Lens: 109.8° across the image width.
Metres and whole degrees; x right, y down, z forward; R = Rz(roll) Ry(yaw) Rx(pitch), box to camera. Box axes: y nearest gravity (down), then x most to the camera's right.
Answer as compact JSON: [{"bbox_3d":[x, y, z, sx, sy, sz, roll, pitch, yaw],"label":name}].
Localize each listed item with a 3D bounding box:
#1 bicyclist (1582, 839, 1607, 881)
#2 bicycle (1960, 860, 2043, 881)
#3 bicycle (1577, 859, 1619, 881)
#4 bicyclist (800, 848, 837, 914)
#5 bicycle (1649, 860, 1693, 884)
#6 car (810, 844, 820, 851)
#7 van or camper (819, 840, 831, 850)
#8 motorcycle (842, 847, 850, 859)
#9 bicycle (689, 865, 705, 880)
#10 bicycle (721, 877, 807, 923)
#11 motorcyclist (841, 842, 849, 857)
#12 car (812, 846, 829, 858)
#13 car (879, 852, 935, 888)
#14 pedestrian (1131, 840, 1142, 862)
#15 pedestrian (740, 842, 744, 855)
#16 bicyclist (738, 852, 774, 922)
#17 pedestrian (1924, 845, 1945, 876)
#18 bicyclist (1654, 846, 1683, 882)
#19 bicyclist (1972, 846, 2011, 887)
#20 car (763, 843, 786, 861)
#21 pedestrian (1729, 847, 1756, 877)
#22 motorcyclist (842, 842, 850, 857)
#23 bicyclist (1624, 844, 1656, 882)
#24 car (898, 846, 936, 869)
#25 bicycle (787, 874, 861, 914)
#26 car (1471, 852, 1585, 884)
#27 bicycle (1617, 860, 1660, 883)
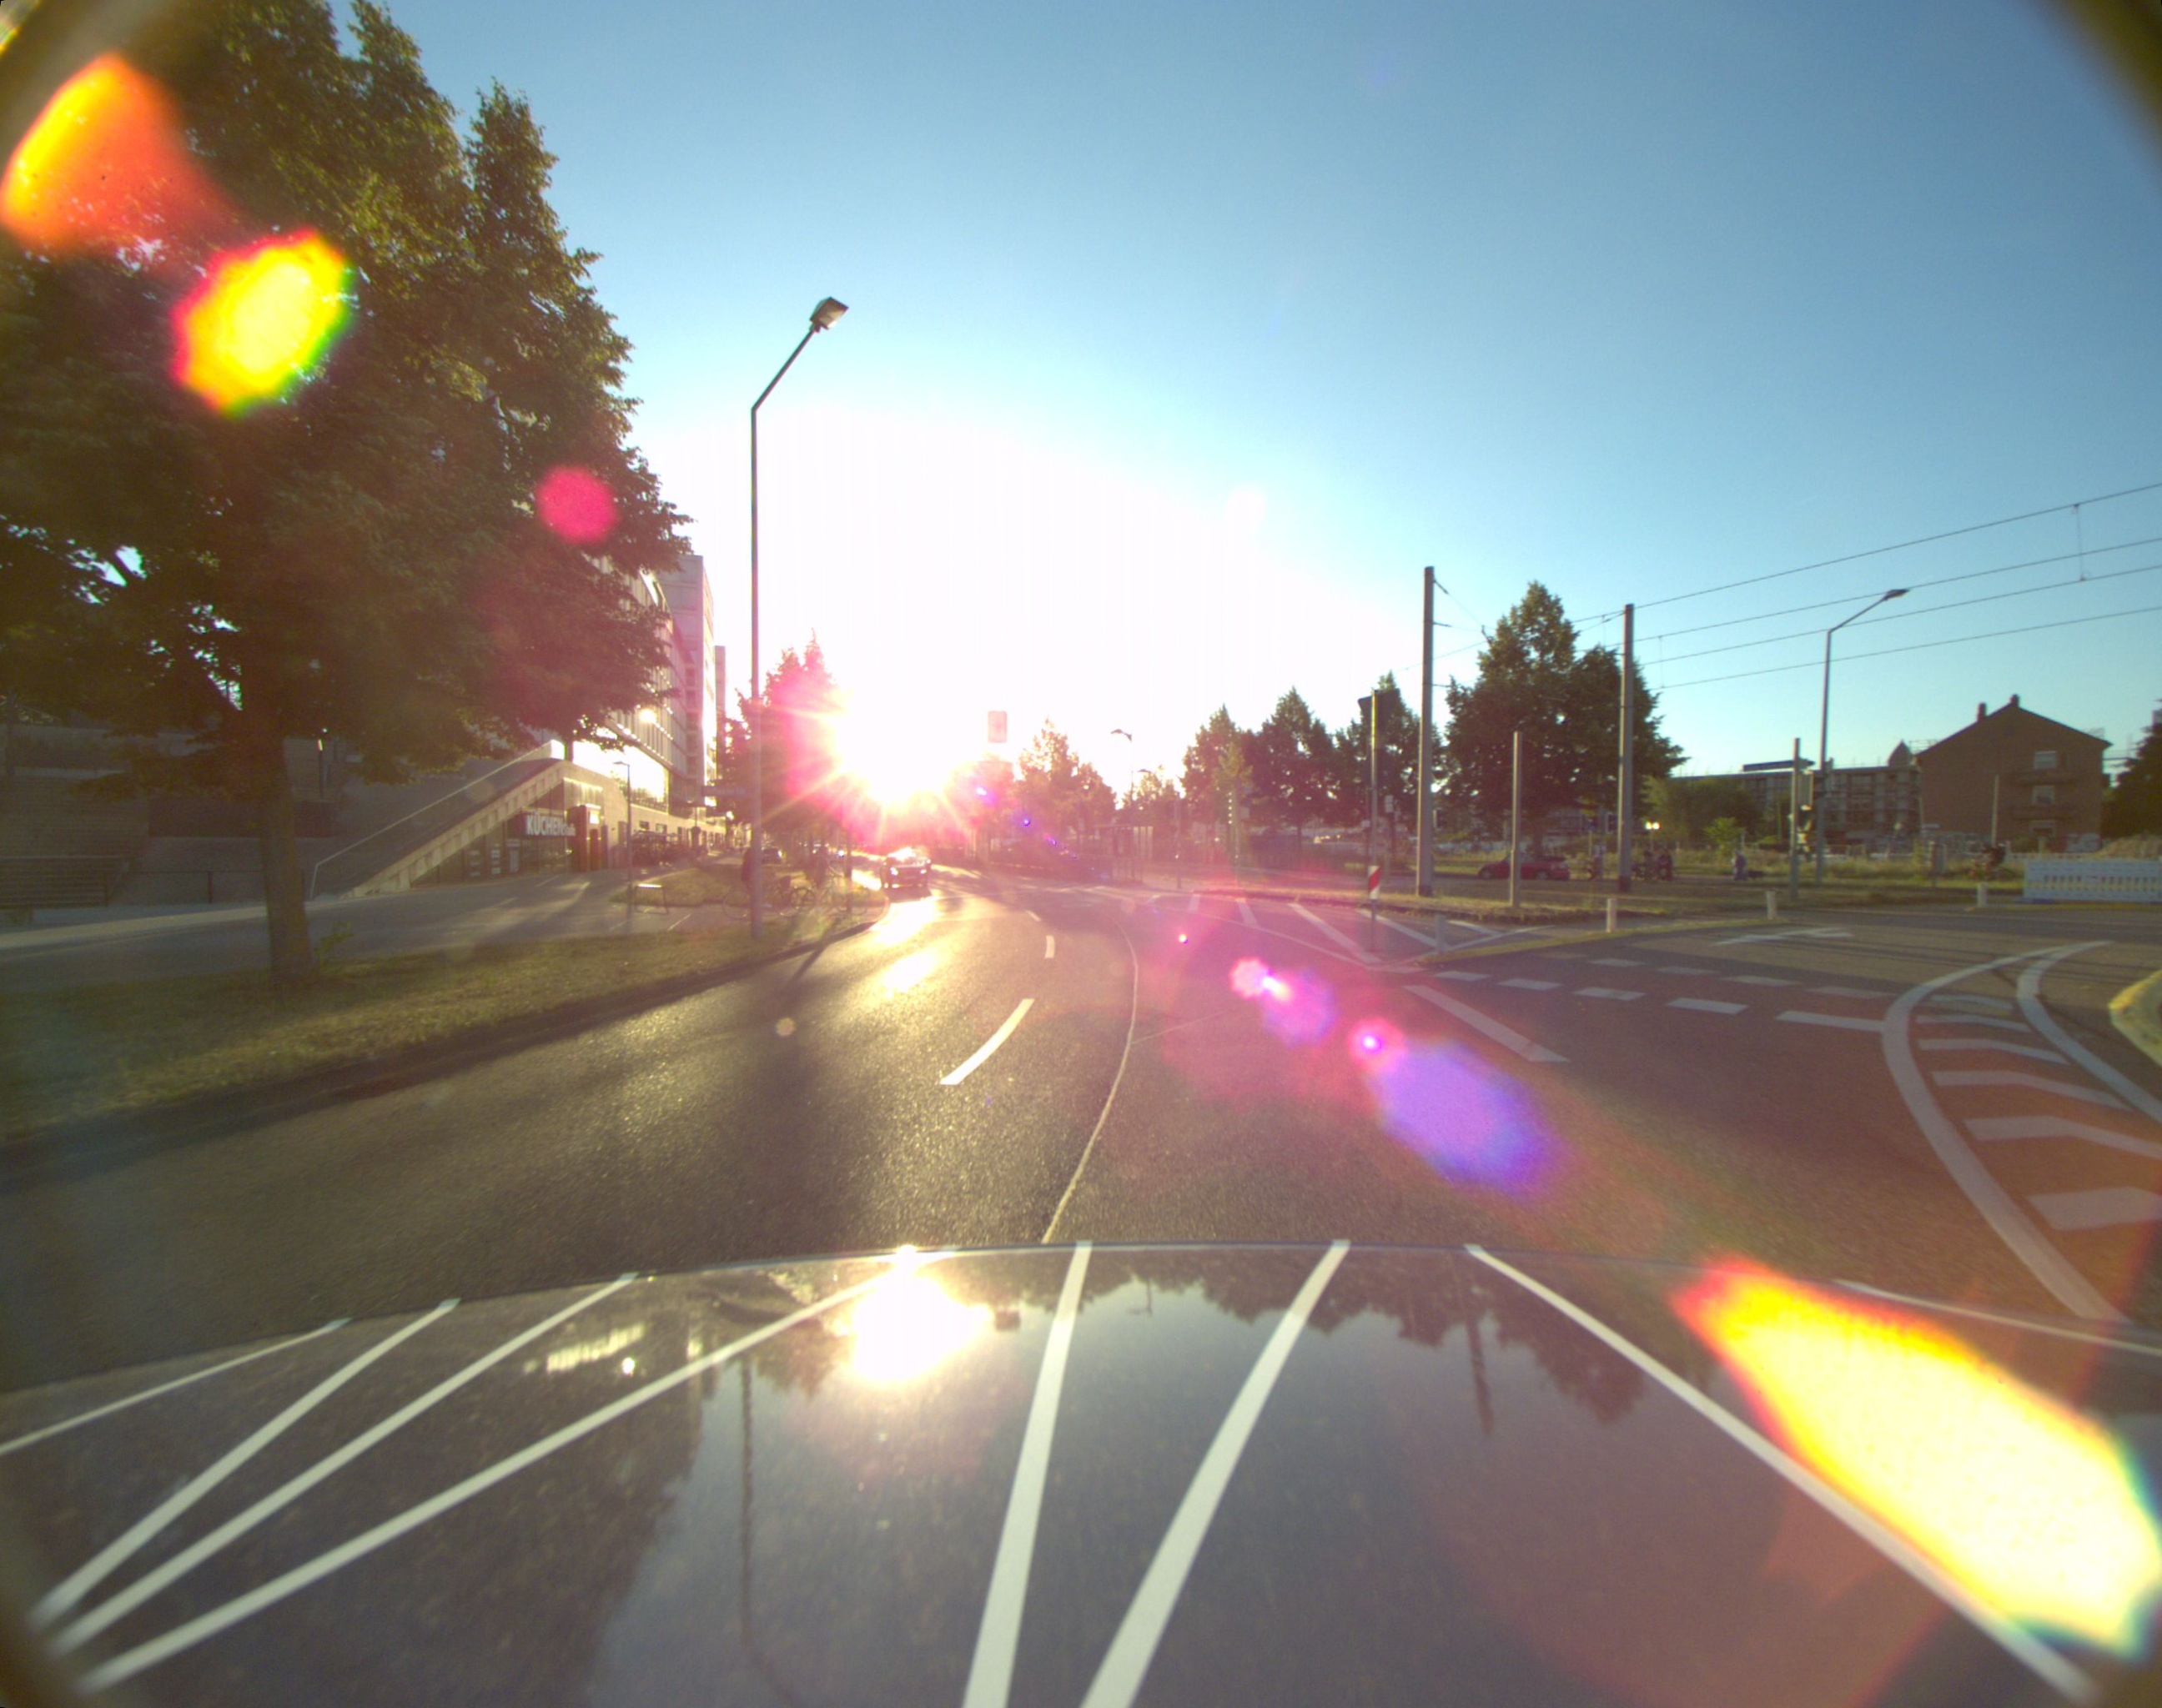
[{"bbox_3d":[23.409,0.259,34.646,0.678,1.907,0.614,-1,2,-18],"label":"bicyclist"},{"bbox_3d":[37.515,0.660,30.998,2.130,0.841,0.513,0,1,27],"label":"bicycle"},{"bbox_3d":[23.622,0.734,34.718,1.845,0.975,0.549,-1,1,-18],"label":"bicycle"},{"bbox_3d":[-7.075,0.704,20.522,0.850,1.745,0.803,-1,1,-15],"label":"bicyclist"},{"bbox_3d":[25.109,0.753,32.341,1.845,0.975,0.536,-1,1,-18],"label":"bicycle"},{"bbox_3d":[-63.078,-1.635,179.880,1.897,1.613,3.991,-1,1,-24],"label":"car"},{"bbox_3d":[-50.516,-1.831,149.938,2.002,1.946,5.317,-1,2,-22],"label":"van or camper"},{"bbox_3d":[-22.334,-0.101,72.109,0.559,1.094,2.156,-1,1,-21],"label":"motorcycle"},{"bbox_3d":[-24.335,1.132,48.153,0.551,0.847,2.639,-1,1,-20],"label":"bicycle"},{"bbox_3d":[-7.664,1.096,18.420,1.866,1.017,0.307,-1,2,-31],"label":"bicycle"},{"bbox_3d":[-22.430,-0.447,72.304,0.637,1.400,0.593,-1,2,-22],"label":"motorcyclist"},{"bbox_3d":[-34.829,-0.290,101.606,1.895,1.472,4.042,-1,2,-22],"label":"car"},{"bbox_3d":[-7.860,0.682,34.082,1.805,1.456,3.992,-1,1,-22],"label":"car"},{"bbox_3d":[4.241,-0.241,58.214,0.709,1.623,0.445,-1,2,-24],"label":"pedestrian"},{"bbox_3d":[-52.168,-0.865,117.019,0.539,2.002,0.526,-1,2,-22],"label":"pedestrian"},{"bbox_3d":[-7.870,0.775,18.408,0.685,1.639,0.682,-1,2,-31],"label":"bicyclist"},{"bbox_3d":[37.075,0.282,33.009,0.502,1.358,0.435,1,2,37],"label":"pedestrian"},{"bbox_3d":[24.975,0.403,32.294,0.815,1.497,0.591,-1,1,-18],"label":"bicyclist"},{"bbox_3d":[37.212,0.493,31.048,0.796,1.625,0.697,0,1,28],"label":"bicyclist"},{"bbox_3d":[-27.110,-0.204,67.237,1.805,1.456,3.992,-1,1,-22],"label":"car"},{"bbox_3d":[30.267,0.346,34.786,0.619,1.358,0.694,-1,1,-18],"label":"pedestrian"},{"bbox_3d":[-22.187,-0.437,71.688,0.637,1.408,0.713,-1,2,-22],"label":"motorcyclist"},{"bbox_3d":[24.671,0.392,33.535,0.815,1.631,0.813,-1,1,-18],"label":"bicyclist"},{"bbox_3d":[-11.196,0.199,51.690,1.805,1.415,4.440,-1,1,-22],"label":"car"},{"bbox_3d":[-6.995,1.090,20.743,1.864,1.017,0.437,-1,1,-14],"label":"bicycle"},{"bbox_3d":[19.867,0.570,33.953,1.837,1.324,3.989,-1,1,-32],"label":"car"},{"bbox_3d":[24.643,0.757,33.571,1.845,0.975,0.549,-1,1,-18],"label":"bicycle"}]
